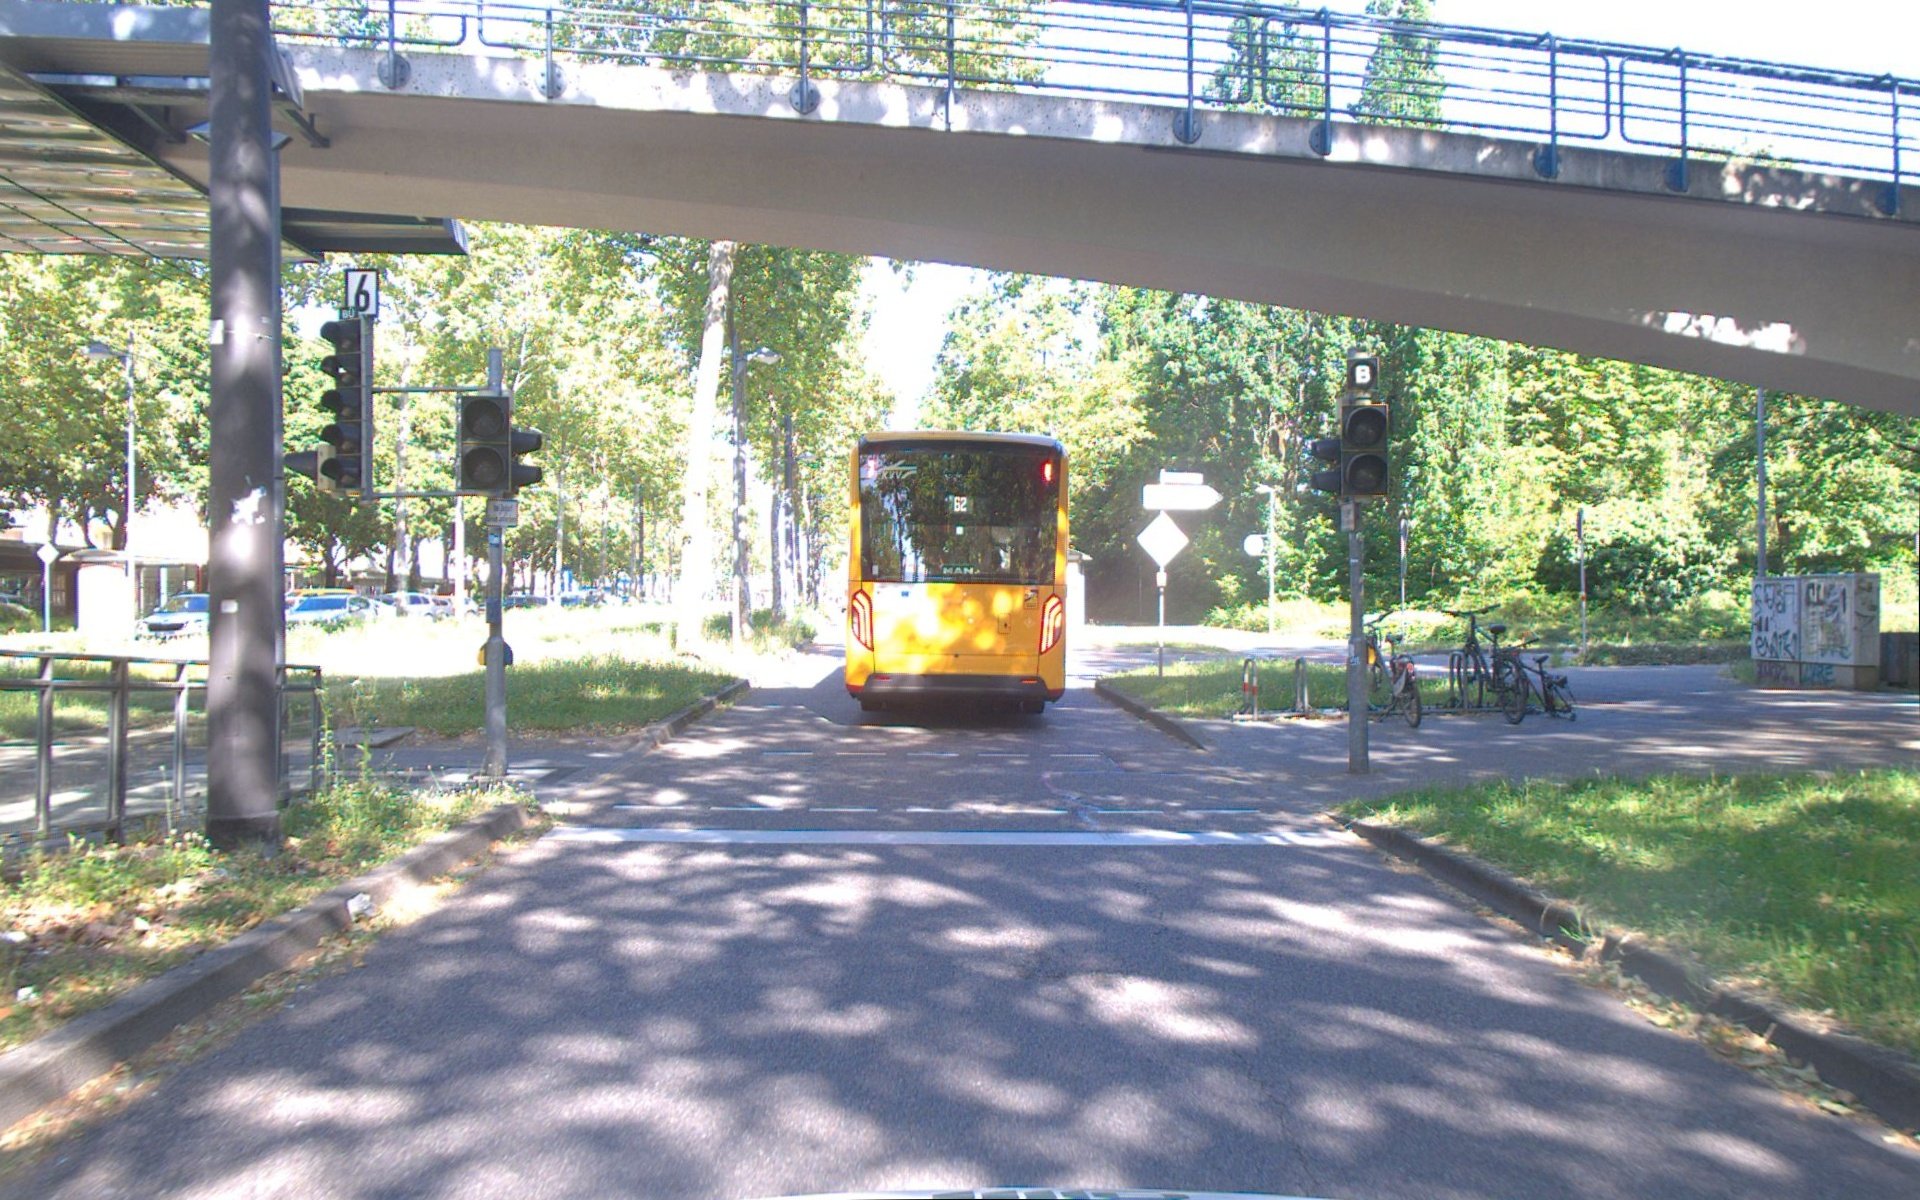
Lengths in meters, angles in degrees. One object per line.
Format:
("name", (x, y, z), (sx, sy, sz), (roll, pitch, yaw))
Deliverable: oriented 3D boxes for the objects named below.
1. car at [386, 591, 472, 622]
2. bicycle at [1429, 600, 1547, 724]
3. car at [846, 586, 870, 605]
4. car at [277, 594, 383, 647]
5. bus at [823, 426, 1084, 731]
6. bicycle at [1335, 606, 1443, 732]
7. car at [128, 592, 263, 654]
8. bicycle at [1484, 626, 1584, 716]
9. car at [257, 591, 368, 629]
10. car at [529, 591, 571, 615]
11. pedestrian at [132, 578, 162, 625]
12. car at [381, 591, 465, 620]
("car", (-27.759, 0.321, 86.538), (1.768, 1.537, 3.976), (0, 0, 42))
("bicycle", (5.656, 0.634, 17.814), (0.578, 1.203, 1.799), (-3, 1, -2))
("car", (-9.891, -0.475, 160.826), (1.946, 1.672, 4.134), (2, 1, 0))
("car", (-19.488, 0.594, 51.362), (1.758, 1.537, 4.672), (0, 0, -3))
("bus", (-0.287, -0.260, 24.203), (2.841, 3.324, 12.212), (0, 0, -2))
("bicycle", (4.556, 0.705, 17.676), (0.578, 1.203, 1.799), (-3, 1, -2))
("car", (-20.818, 0.597, 45.233), (1.758, 1.608, 4.287), (0, 0, -1))
("bicycle", (6.262, 0.759, 18.094), (0.495, 0.867, 1.473), (-3, 1, -2))
("car", (-26.975, 0.395, 68.973), (1.768, 1.537, 3.976), (0, 0, 42))
("car", (-27.745, 0.198, 111.961), (1.757, 1.537, 4.001), (0, 0, 2))
("pedestrian", (-26.282, 0.049, 53.447), (0.635, 1.485, 0.650), (0, 0, 0))
("car", (-29.043, 0.302, 89.516), (1.768, 1.537, 3.976), (0, 0, 42))
